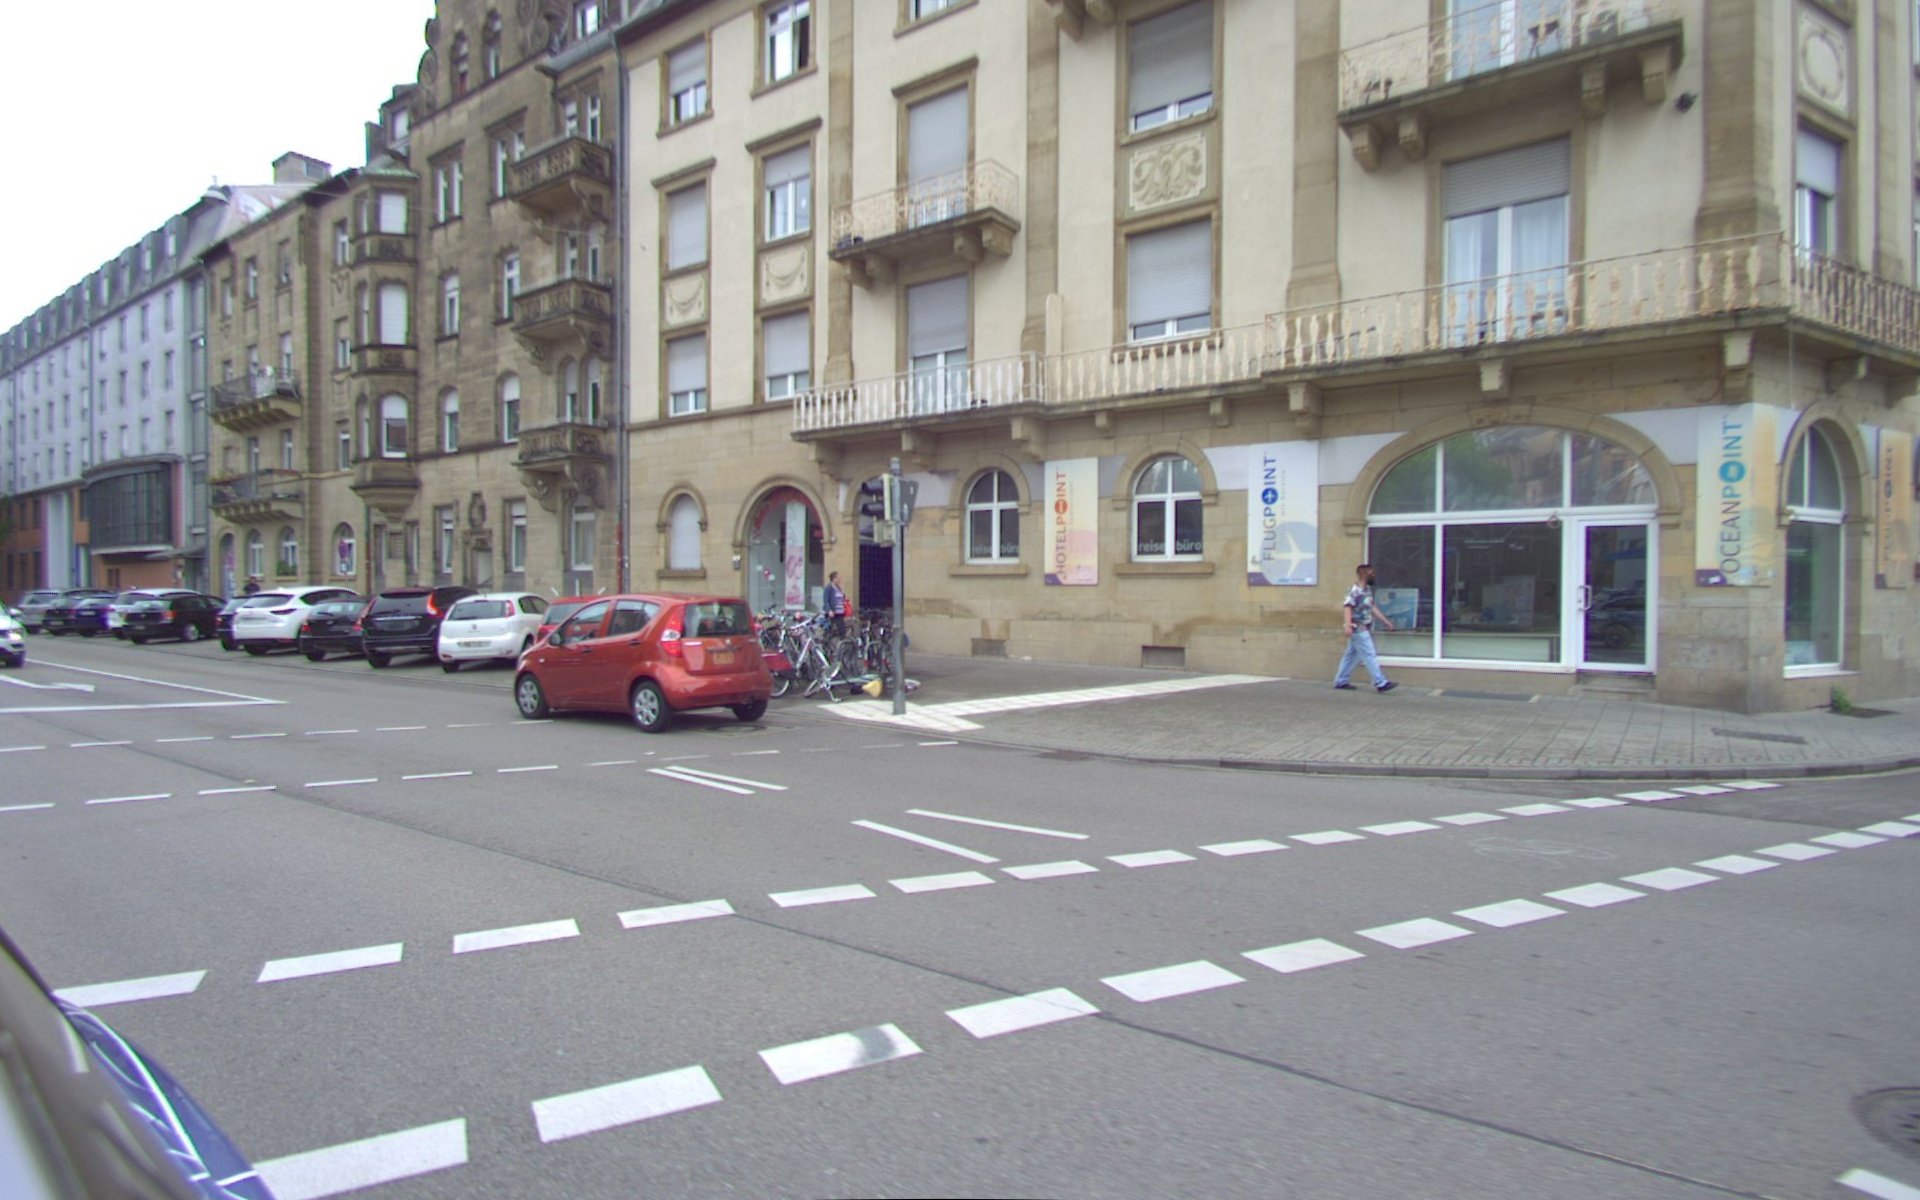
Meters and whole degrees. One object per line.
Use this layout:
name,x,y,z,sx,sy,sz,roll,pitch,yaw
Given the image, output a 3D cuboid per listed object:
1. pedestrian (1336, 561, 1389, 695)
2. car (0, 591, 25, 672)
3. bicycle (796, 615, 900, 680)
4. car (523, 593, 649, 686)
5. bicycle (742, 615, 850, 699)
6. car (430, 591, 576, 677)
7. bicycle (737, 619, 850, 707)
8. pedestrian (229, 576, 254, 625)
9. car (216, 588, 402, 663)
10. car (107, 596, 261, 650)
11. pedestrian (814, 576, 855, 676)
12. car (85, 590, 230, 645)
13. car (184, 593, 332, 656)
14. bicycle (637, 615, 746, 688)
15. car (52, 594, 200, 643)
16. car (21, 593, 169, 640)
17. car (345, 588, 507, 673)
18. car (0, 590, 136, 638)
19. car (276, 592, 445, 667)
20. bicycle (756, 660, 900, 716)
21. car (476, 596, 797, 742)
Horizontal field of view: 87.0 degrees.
pedestrian,5.578,0.376,14.029,0.550,1.799,0.561,0,0,38
car,-21.221,0.618,21.138,4.246,1.618,1.888,1,0,39
bicycle,-1.934,0.781,17.320,1.994,1.035,0.497,0,0,38
car,-7.109,0.663,19.580,1.656,1.483,4.010,-2,2,-11
bicycle,-2.557,0.867,16.006,0.441,1.043,1.871,0,5,35
car,-9.448,0.633,21.245,1.540,1.483,4.006,-1,2,-5
bicycle,-2.461,0.909,15.227,0.441,1.043,1.871,0,5,35
pedestrian,-26.928,0.014,37.941,0.641,1.837,0.614,0,0,37
car,-16.882,0.594,26.483,1.822,1.736,3.985,0,1,12
car,-23.927,0.654,31.392,1.639,1.428,3.999,0,2,1
pedestrian,-2.504,0.507,20.245,0.550,1.973,0.613,0,0,38
car,-26.600,0.536,33.721,1.679,1.565,4.002,-1,2,-1
car,-19.438,0.625,28.229,1.547,1.508,3.814,0,2,-2
bicycle,-4.643,0.870,17.634,0.442,1.043,1.868,0,5,40
car,-28.854,0.591,35.181,1.802,1.456,3.742,-1,2,7
car,-31.157,0.565,36.627,1.711,1.449,3.995,-1,2,5
car,-11.749,0.593,22.590,1.705,1.664,4.231,0,1,-5
car,-33.661,0.486,38.358,1.708,1.565,4.003,-1,2,-2
car,-14.351,0.640,24.515,1.707,1.505,4.001,-1,2,0
bicycle,-1.834,1.216,14.335,1.026,0.448,1.871,-2,5,35
car,-4.082,0.731,12.581,3.989,1.536,1.718,0,0,34
